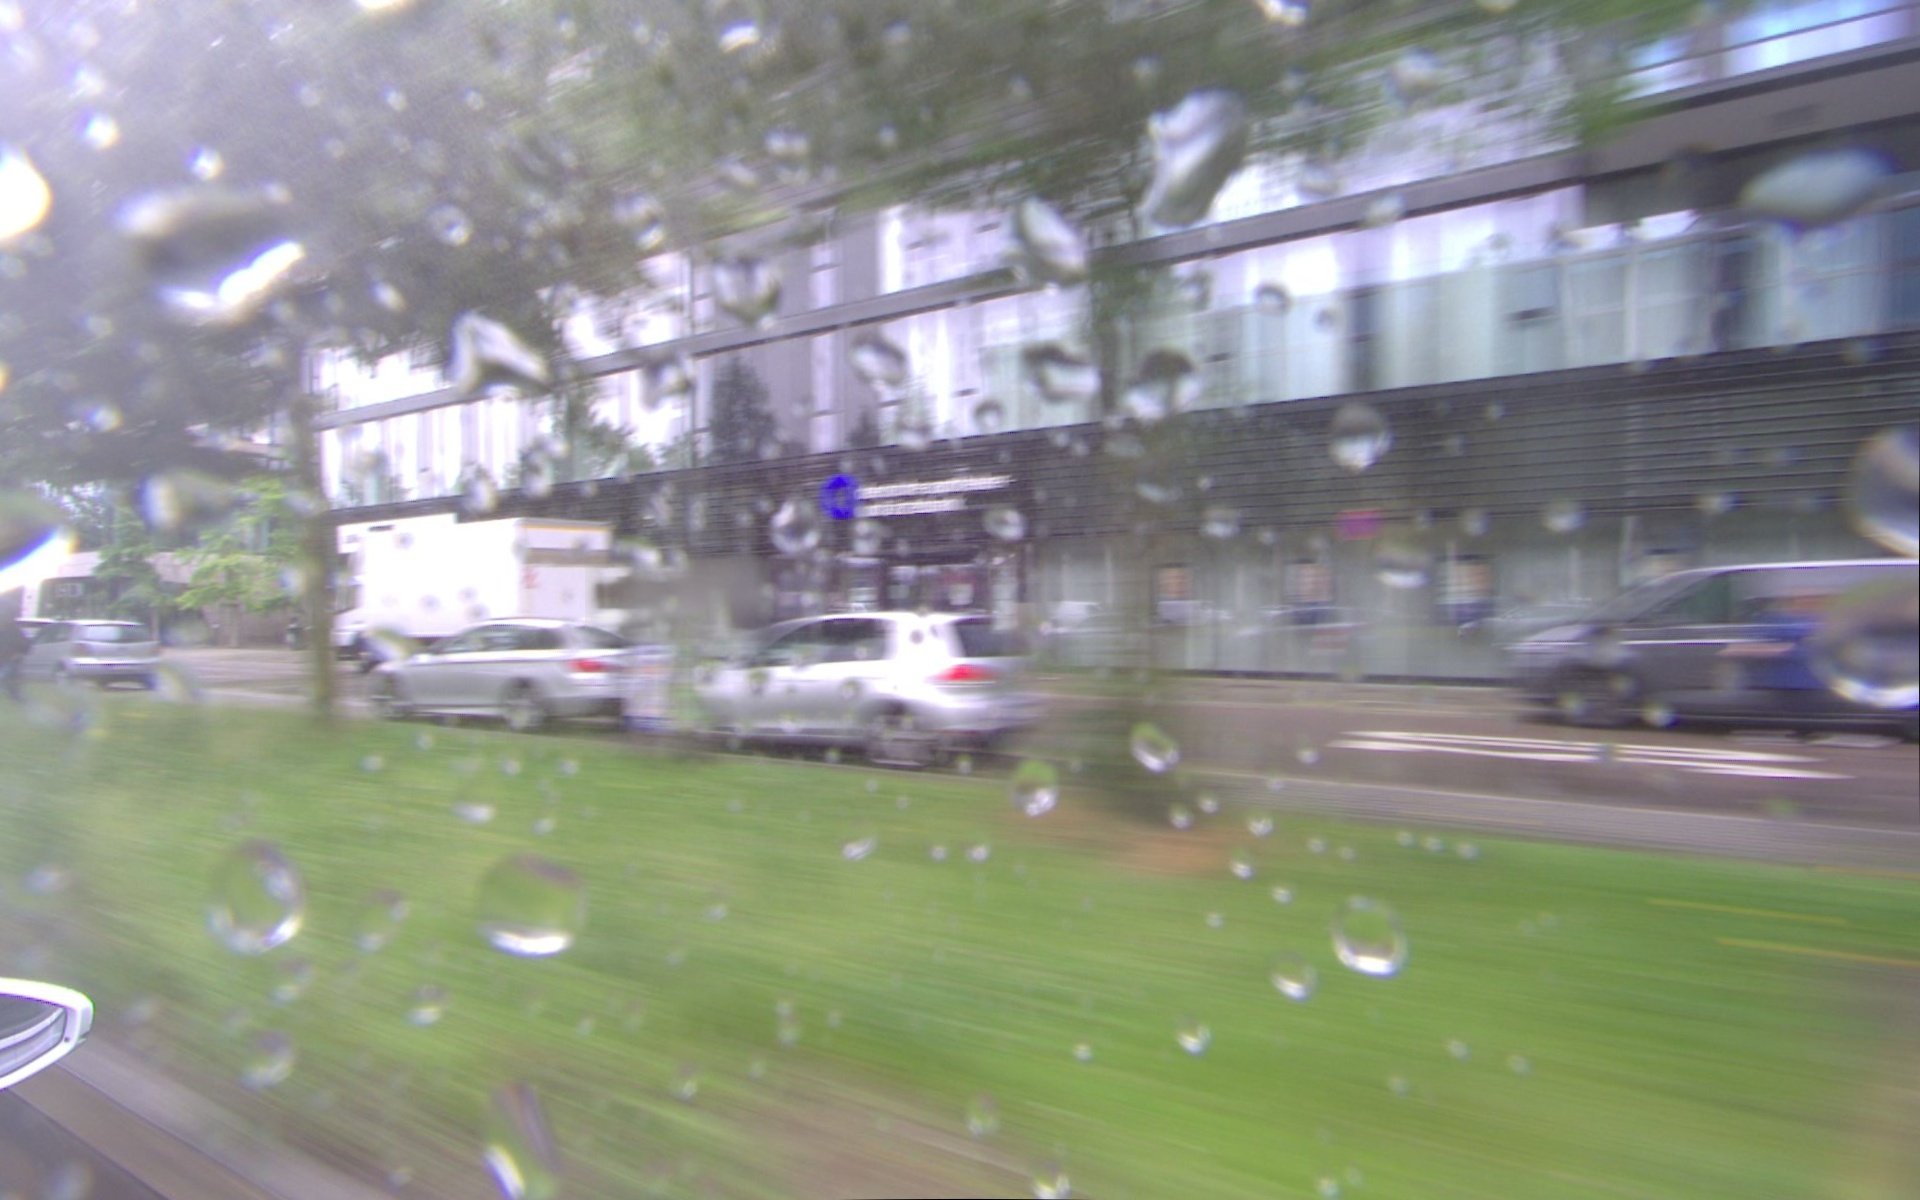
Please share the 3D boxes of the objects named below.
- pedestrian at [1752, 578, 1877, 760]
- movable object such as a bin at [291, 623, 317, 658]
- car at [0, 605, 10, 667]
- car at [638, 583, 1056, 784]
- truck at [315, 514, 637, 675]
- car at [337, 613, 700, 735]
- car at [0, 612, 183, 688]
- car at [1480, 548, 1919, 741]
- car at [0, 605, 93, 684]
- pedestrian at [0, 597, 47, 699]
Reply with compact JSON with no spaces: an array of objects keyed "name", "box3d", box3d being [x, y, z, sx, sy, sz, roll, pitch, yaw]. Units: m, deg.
[{"name":"pedestrian","box3d":[8.649,0.665,10.172,0.791,1.764,0.579,2,3,30]},{"name":"movable object such as a bin","box3d":[-25.475,1.560,38.873,0.638,1.293,0.607,2,1,28]},{"name":"car","box3d":[-28.973,0.936,28.277,4.886,1.691,1.989,2,1,32]},{"name":"car","box3d":[-1.235,0.695,10.286,4.040,1.618,1.757,2,1,32]},{"name":"truck","box3d":[-12.216,-0.068,25.032,8.418,3.486,3.021,0,0,30]},{"name":"car","box3d":[-6.264,0.914,14.058,5.157,1.463,1.991,0,-1,29]},{"name":"car","box3d":[-19.106,1.032,21.846,4.652,1.471,1.768,0,-1,30]},{"name":"car","box3d":[8.947,0.475,11.665,5.072,1.945,1.991,0,0,30]},{"name":"car","box3d":[-23.967,1.045,25.228,4.655,1.691,1.990,2,1,32]},{"name":"pedestrian","box3d":[-14.479,0.717,15.276,0.689,1.513,0.641,0,0,30]}]
